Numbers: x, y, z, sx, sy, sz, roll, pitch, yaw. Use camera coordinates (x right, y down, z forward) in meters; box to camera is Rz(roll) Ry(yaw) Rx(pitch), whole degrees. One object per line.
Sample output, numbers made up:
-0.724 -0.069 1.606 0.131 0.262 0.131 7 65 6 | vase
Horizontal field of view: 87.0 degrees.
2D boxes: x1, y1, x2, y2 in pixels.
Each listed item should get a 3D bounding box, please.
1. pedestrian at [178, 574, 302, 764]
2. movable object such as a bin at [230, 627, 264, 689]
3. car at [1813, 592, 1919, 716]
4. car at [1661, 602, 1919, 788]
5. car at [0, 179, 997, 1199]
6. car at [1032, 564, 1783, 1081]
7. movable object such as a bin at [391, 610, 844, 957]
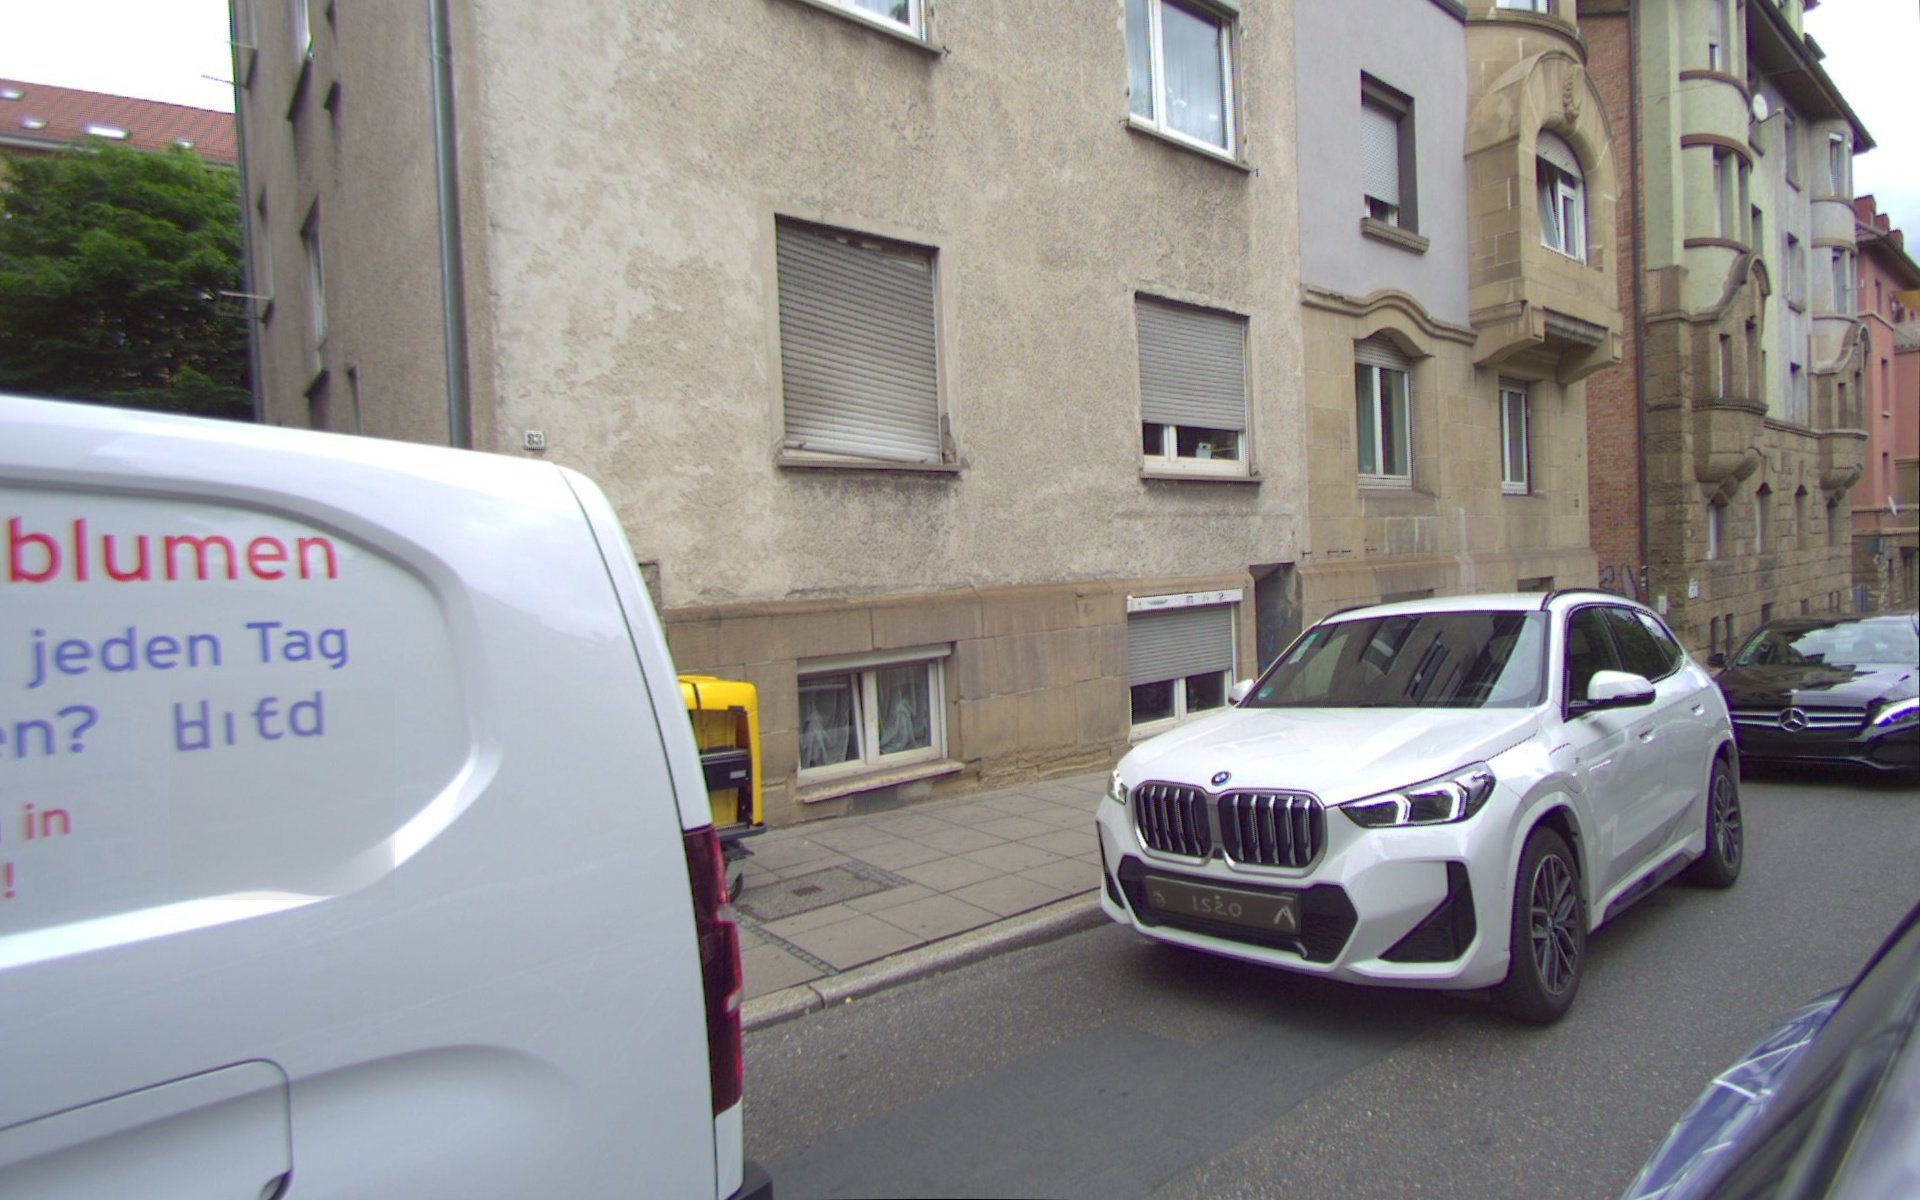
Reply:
-6.928 0.616 9.737 0.771 1.666 0.810 -7 5 -39 | pedestrian
-10.976 0.882 15.585 0.405 0.923 0.340 0 0 -40 | movable object such as a bin
13.546 0.651 13.948 4.226 1.534 1.935 -1 -3 -40 | car
8.437 0.759 9.610 4.132 1.395 1.882 -1 -3 -41 | car
-2.308 0.560 0.958 4.597 1.798 1.977 -1 -3 -42 | car
2.568 0.718 5.241 4.276 1.576 1.857 -1 -4 -41 | car
-1.783 0.790 5.408 1.979 1.391 1.223 -1 2 -43 | movable object such as a bin
